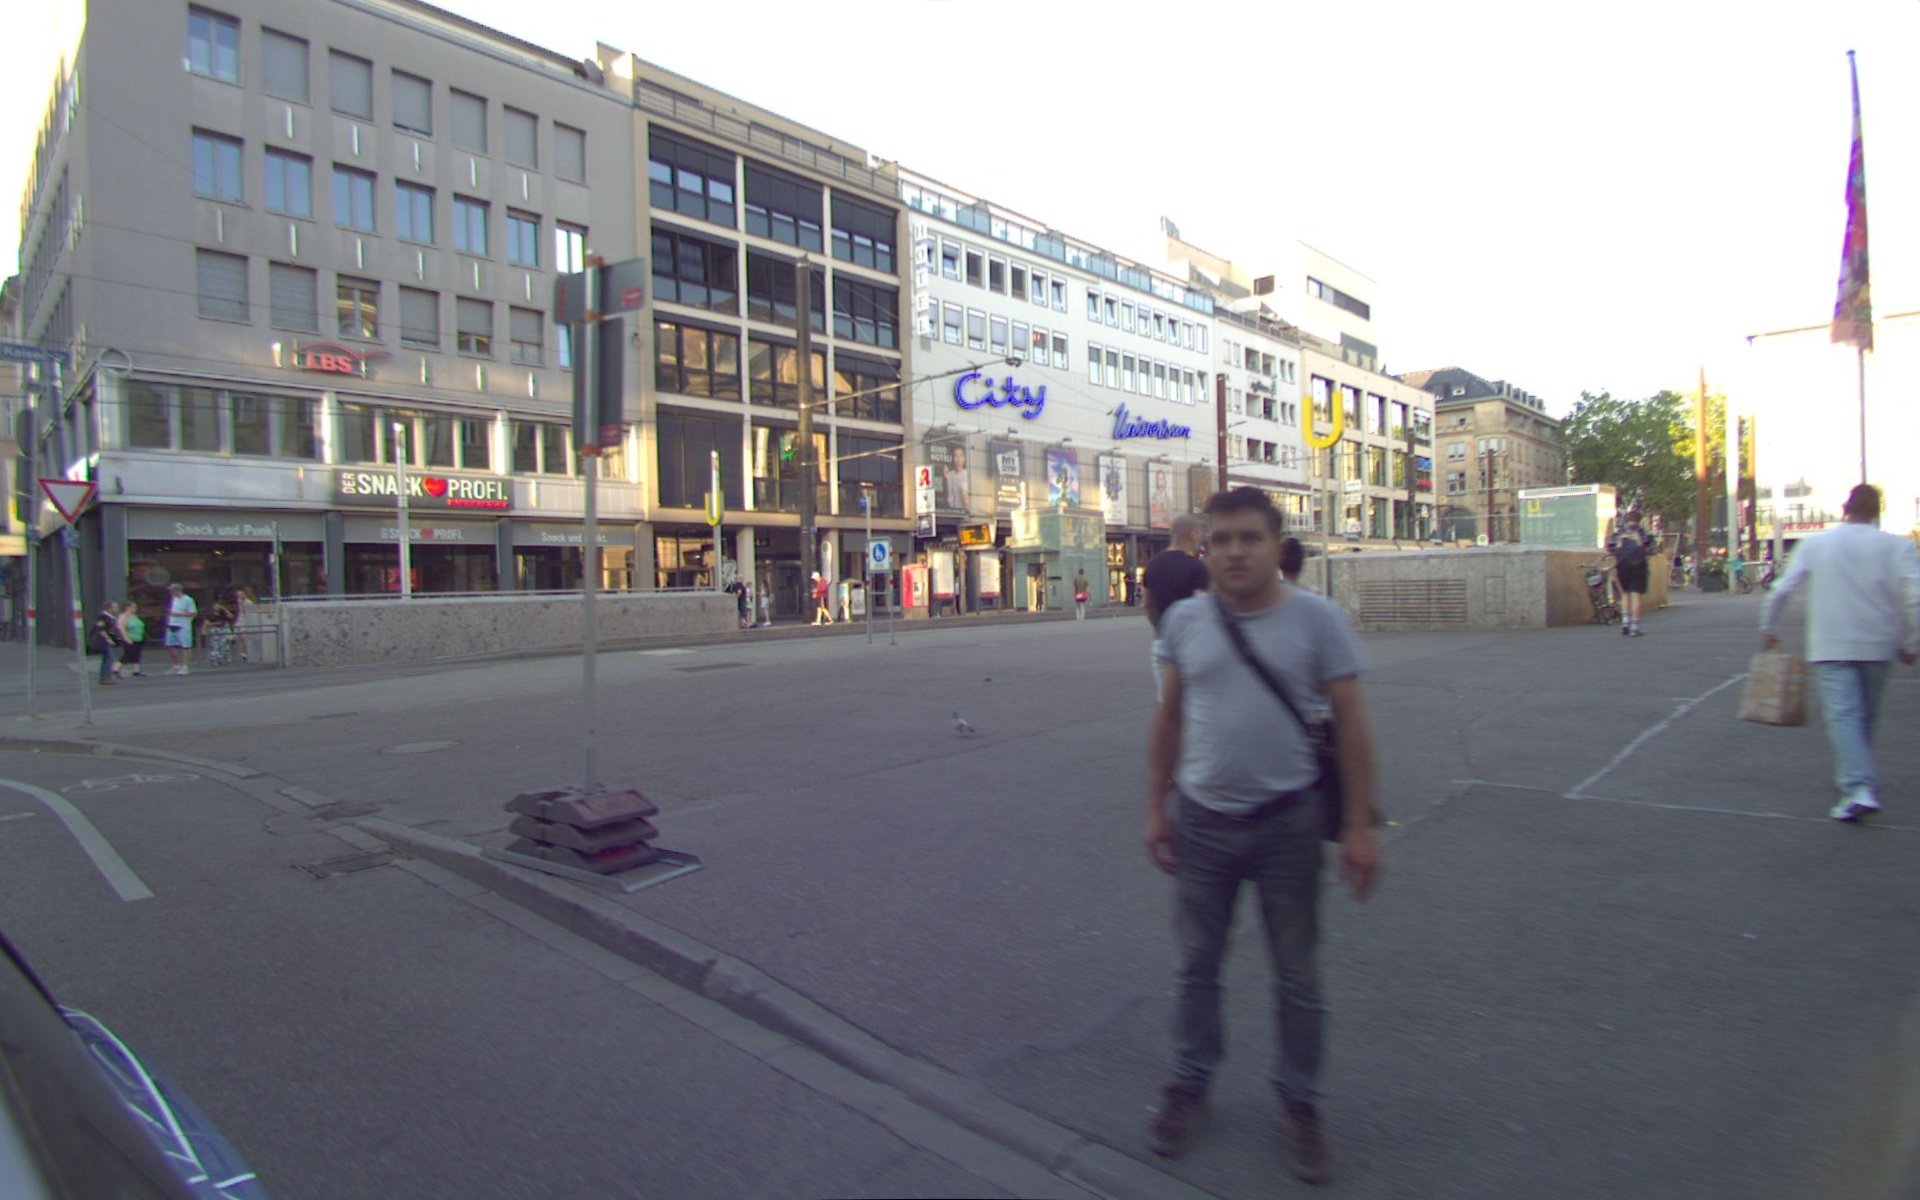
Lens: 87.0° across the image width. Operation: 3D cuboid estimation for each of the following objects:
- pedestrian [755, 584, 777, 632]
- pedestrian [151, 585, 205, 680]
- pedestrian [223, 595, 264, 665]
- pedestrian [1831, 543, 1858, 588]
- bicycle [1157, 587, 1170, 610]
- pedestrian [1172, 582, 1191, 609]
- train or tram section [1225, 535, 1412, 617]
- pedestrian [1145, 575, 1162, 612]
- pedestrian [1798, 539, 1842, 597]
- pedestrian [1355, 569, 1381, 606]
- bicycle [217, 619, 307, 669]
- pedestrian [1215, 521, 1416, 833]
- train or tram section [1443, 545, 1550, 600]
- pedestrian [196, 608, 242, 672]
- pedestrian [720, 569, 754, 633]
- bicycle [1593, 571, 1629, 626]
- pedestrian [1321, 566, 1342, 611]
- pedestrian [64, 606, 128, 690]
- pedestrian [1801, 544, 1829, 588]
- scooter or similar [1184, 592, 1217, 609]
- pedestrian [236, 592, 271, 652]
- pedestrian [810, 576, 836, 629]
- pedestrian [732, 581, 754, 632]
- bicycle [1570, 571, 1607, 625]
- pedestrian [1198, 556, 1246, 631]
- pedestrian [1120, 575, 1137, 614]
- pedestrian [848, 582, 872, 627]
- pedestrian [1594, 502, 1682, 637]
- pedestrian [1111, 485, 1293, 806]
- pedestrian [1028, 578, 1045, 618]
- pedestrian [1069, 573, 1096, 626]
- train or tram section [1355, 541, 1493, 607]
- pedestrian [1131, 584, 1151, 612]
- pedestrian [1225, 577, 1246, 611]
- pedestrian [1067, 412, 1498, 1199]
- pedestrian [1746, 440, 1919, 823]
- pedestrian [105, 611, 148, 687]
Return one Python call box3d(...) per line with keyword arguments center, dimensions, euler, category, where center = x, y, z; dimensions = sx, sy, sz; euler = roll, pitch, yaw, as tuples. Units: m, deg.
box3d(center=(-6.692, 0.278, 34.978), dimensions=(0.619, 1.600, 0.605), euler=(-1, -1, 1), category="pedestrian")
box3d(center=(-16.438, 0.673, 21.272), dimensions=(0.774, 1.941, 0.701), euler=(-2, -1, 36), category="pedestrian")
box3d(center=(-18.177, 0.751, 25.667), dimensions=(0.716, 1.738, 0.699), euler=(-2, -1, 42), category="pedestrian")
box3d(center=(37.416, -1.470, 42.808), dimensions=(0.811, 1.837, 0.794), euler=(-2, 1, 43), category="pedestrian")
box3d(center=(10.411, -0.078, 51.714), dimensions=(0.431, 1.150, 1.608), euler=(-2, 0, 19), category="bicycle")
box3d(center=(11.422, -0.229, 52.189), dimensions=(0.709, 1.389, 0.710), euler=(-2, -1, 42), category="pedestrian")
box3d(center=(17.251, -1.150, 47.564), dimensions=(2.809, 3.344, 14.304), euler=(-2, 0, 43), category="train or tram section")
box3d(center=(9.053, -0.295, 47.329), dimensions=(0.703, 1.738, 0.772), euler=(-1, -1, 14), category="pedestrian")
box3d(center=(26.255, -0.980, 30.903), dimensions=(0.718, 1.718, 0.652), euler=(-2, 0, 9), category="pedestrian")
box3d(center=(17.736, -0.556, 44.013), dimensions=(0.794, 1.591, 0.759), euler=(-1, 0, 42), category="pedestrian")
box3d(center=(-17.541, 1.077, 25.459), dimensions=(1.772, 1.116, 0.501), euler=(-4, 1, -42), category="bicycle")
box3d(center=(2.026, 0.380, 5.753), dimensions=(0.806, 1.593, 0.862), euler=(1, 2, 43), category="pedestrian")
box3d(center=(36.596, -1.850, 68.583), dimensions=(2.809, 3.344, 14.304), euler=(-2, 0, 43), category="train or tram section")
box3d(center=(-17.155, 0.921, 23.451), dimensions=(0.674, 1.445, 0.556), euler=(-1, -1, -8), category="pedestrian")
box3d(center=(-6.838, 0.035, 31.023), dimensions=(0.715, 1.939, 0.700), euler=(-2, -1, 39), category="pedestrian")
box3d(center=(10.775, -0.039, 16.736), dimensions=(0.316, 0.873, 0.986), euler=(-3, -1, 42), category="bicycle")
box3d(center=(15.789, -0.473, 42.995), dimensions=(0.733, 1.837, 0.812), euler=(0, -3, 29), category="pedestrian")
box3d(center=(-16.241, 0.892, 19.029), dimensions=(0.677, 1.553, 0.605), euler=(-1, -1, 2), category="pedestrian")
box3d(center=(36.710, -1.448, 43.445), dimensions=(0.794, 1.837, 0.811), euler=(-3, 1, -45), category="pedestrian")
box3d(center=(12.281, 0.016, 51.675), dimensions=(1.502, 0.837, 0.560), euler=(-1, -1, -7), category="scooter or similar")
box3d(center=(-20.827, 0.635, 29.839), dimensions=(0.716, 1.738, 0.699), euler=(-2, -1, 42), category="pedestrian")
box3d(center=(-4.527, 0.085, 33.434), dimensions=(0.774, 1.710, 0.716), euler=(-1, -1, -4), category="pedestrian")
box3d(center=(-7.510, 0.227, 34.997), dimensions=(0.619, 1.738, 0.605), euler=(-1, -1, 0), category="pedestrian")
box3d(center=(10.538, -0.037, 16.962), dimensions=(0.316, 0.873, 0.986), euler=(-3, -1, 42), category="bicycle")
box3d(center=(6.622, -0.169, 25.602), dimensions=(0.775, 1.837, 0.927), euler=(-3, -1, 40), category="pedestrian")
box3d(center=(7.659, -0.241, 46.076), dimensions=(0.702, 1.738, 0.772), euler=(-1, -1, 13), category="pedestrian")
box3d(center=(-3.567, 0.159, 36.112), dimensions=(0.596, 1.600, 0.629), euler=(0, -1, -41), category="pedestrian")
box3d(center=(9.596, -0.426, 14.329), dimensions=(0.793, 1.837, 0.812), euler=(-3, 1, -42), category="pedestrian")
box3d(center=(1.545, 0.250, 6.439), dimensions=(0.806, 1.853, 0.862), euler=(1, 2, 43), category="pedestrian")
box3d(center=(3.194, -0.090, 42.130), dimensions=(0.511, 1.629, 0.499), euler=(-2, -1, 34), category="pedestrian")
box3d(center=(4.104, -0.013, 33.943), dimensions=(0.716, 1.738, 0.704), euler=(-1, -1, 23), category="pedestrian")
box3d(center=(26.922, -1.503, 58.066), dimensions=(2.809, 3.344, 14.304), euler=(-2, 0, 43), category="train or tram section")
box3d(center=(8.920, -0.104, 49.883), dimensions=(0.709, 1.389, 0.710), euler=(-2, -1, 42), category="pedestrian")
box3d(center=(14.330, -0.331, 52.588), dimensions=(0.775, 1.738, 0.699), euler=(-2, -1, 43), category="pedestrian")
box3d(center=(0.807, 0.471, 2.468), dimensions=(0.732, 1.659, 0.860), euler=(0, 0, 40), category="pedestrian")
box3d(center=(4.735, 0.135, 5.345), dimensions=(0.866, 1.853, 0.863), euler=(-2, 2, 38), category="pedestrian")
box3d(center=(-16.968, 0.984, 20.601), dimensions=(0.604, 1.505, 0.549), euler=(-2, -1, 36), category="pedestrian")
